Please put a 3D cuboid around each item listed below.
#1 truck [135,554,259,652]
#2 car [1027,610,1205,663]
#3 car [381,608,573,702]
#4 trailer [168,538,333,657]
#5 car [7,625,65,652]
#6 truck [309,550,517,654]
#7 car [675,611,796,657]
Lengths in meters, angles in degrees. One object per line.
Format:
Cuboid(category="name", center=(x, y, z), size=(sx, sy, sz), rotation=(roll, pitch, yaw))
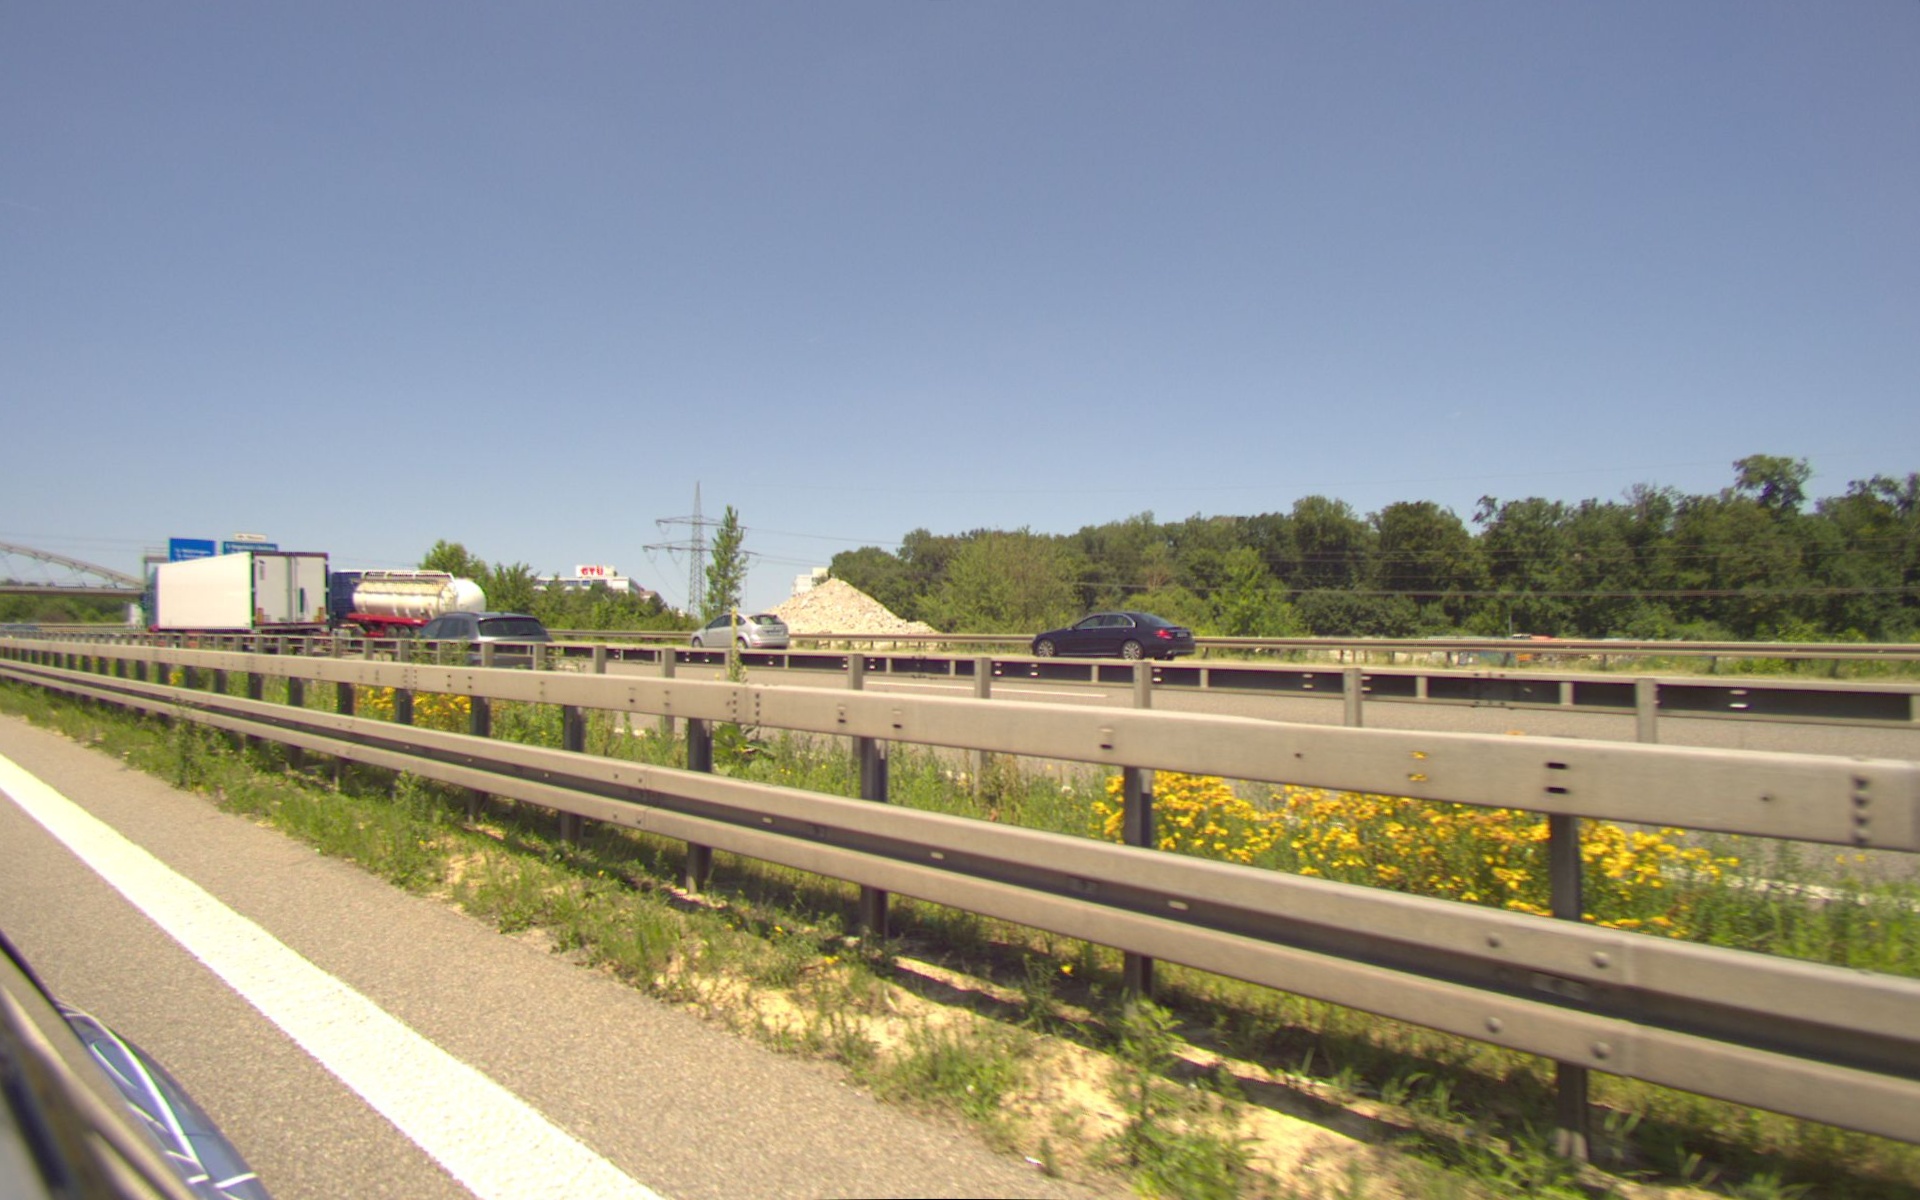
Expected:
Cuboid(category="truck", center=(-35.289, 0.165, 46.712), size=(7.591, 4.151, 2.937), rotation=(-1, 0, 40))
Cuboid(category="car", center=(4.281, 0.994, 28.248), size=(4.660, 1.325, 1.812), rotation=(-1, 0, 41))
Cuboid(category="car", center=(-9.555, 1.001, 19.865), size=(4.408, 1.609, 1.828), rotation=(-1, 0, 42))
Cuboid(category="trailer", center=(-29.531, -0.037, 41.862), size=(10.724, 4.405, 2.925), rotation=(-1, 0, 40))
Cuboid(category="car", center=(-50.512, 2.063, 55.276), size=(4.287, 1.401, 1.786), rotation=(-1, -1, 40))
Cuboid(category="truck", center=(-23.301, 0.181, 42.554), size=(12.890, 3.814, 3.186), rotation=(-1, -1, 40))
Cuboid(category="car", center=(-7.796, 1.146, 34.947), size=(4.437, 1.457, 1.733), rotation=(-1, 0, 40))
